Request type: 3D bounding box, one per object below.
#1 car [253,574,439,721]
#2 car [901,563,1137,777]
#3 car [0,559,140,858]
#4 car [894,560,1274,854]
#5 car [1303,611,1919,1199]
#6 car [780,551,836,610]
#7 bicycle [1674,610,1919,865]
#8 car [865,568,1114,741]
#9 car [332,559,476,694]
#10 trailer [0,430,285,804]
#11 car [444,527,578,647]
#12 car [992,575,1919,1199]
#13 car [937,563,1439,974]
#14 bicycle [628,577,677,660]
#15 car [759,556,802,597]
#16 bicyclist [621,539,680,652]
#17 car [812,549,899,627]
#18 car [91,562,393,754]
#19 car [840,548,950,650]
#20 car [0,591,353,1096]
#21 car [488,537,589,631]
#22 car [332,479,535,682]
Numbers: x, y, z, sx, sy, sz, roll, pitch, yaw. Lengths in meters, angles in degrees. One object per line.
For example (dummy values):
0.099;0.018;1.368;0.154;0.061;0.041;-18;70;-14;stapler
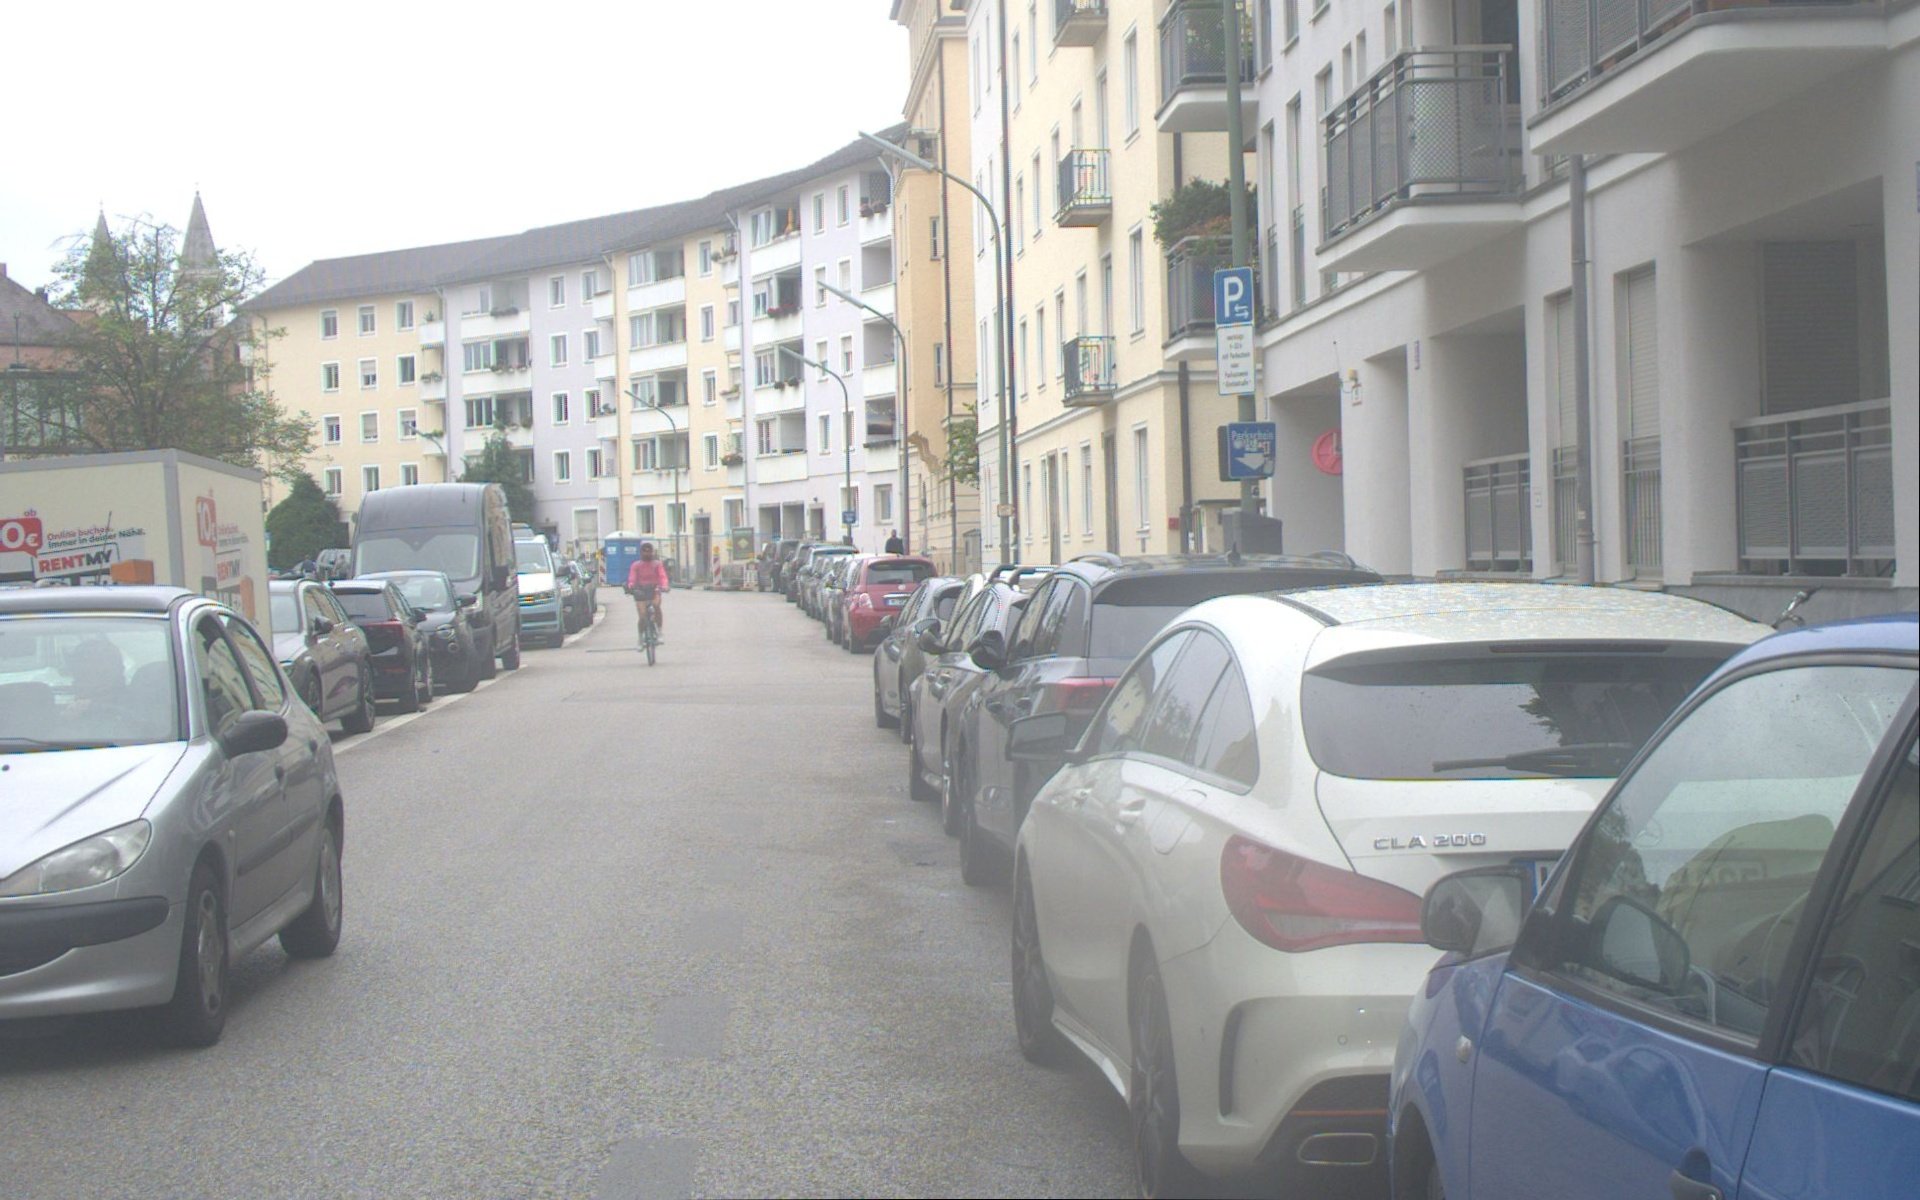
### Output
-6.711;0.478;37.873;1.700;1.441;3.826;-1;2;-5;car
0.396;0.487;26.441;1.519;1.525;3.527;0;1;-4;car
-6.115;0.608;20.487;1.686;1.597;3.922;-3;1;-4;car
0.618;0.547;20.590;1.734;1.525;4.622;1;1;-4;car
1.567;0.749;4.338;1.618;1.407;3.554;1;0;-5;car
-4.409;-0.588;99.115;1.474;1.635;4.002;0;1;-5;car
4.248;0.654;17.392;0.627;1.156;2.128;-2;1;-5;bicycle
0.192;0.436;30.548;1.763;1.403;4.079;-1;0;-6;car
-6.848;0.297;42.586;1.585;1.533;3.544;-2;1;-7;car
-6.268;0.086;25.308;1.709;2.453;4.387;-3;1;-1;trailer
-7.864;-0.275;60.557;1.882;1.925;4.602;-3;1;-3;car
1.103;0.684;8.742;1.658;1.435;4.207;1;1;-4;car
0.856;0.621;15.022;1.603;1.525;3.985;1;1;-4;car
-4.340;0.251;48.637;0.504;1.124;1.773;-2;1;0;bicycle
-5.804;-0.761;110.794;1.272;1.294;2.798;-1;1;-5;car
-4.380;-0.075;48.653;0.694;1.556;0.967;-2;1;0;bicyclist
-2.148;-0.273;70.138;1.598;1.486;3.800;-1;1;-4;car
-6.452;0.464;31.370;1.766;1.533;4.541;-3;1;-1;car
-1.057;-0.045;54.319;1.595;1.503;3.801;-1;1;-3;car
-3.102;0.701;11.545;1.581;1.406;3.613;-2;0;-2;car
-8.273;-0.337;67.782;1.701;1.685;4.029;-3;1;-4;car
-7.276;-0.329;48.050;2.088;2.627;5.377;-1;1;-2;car
